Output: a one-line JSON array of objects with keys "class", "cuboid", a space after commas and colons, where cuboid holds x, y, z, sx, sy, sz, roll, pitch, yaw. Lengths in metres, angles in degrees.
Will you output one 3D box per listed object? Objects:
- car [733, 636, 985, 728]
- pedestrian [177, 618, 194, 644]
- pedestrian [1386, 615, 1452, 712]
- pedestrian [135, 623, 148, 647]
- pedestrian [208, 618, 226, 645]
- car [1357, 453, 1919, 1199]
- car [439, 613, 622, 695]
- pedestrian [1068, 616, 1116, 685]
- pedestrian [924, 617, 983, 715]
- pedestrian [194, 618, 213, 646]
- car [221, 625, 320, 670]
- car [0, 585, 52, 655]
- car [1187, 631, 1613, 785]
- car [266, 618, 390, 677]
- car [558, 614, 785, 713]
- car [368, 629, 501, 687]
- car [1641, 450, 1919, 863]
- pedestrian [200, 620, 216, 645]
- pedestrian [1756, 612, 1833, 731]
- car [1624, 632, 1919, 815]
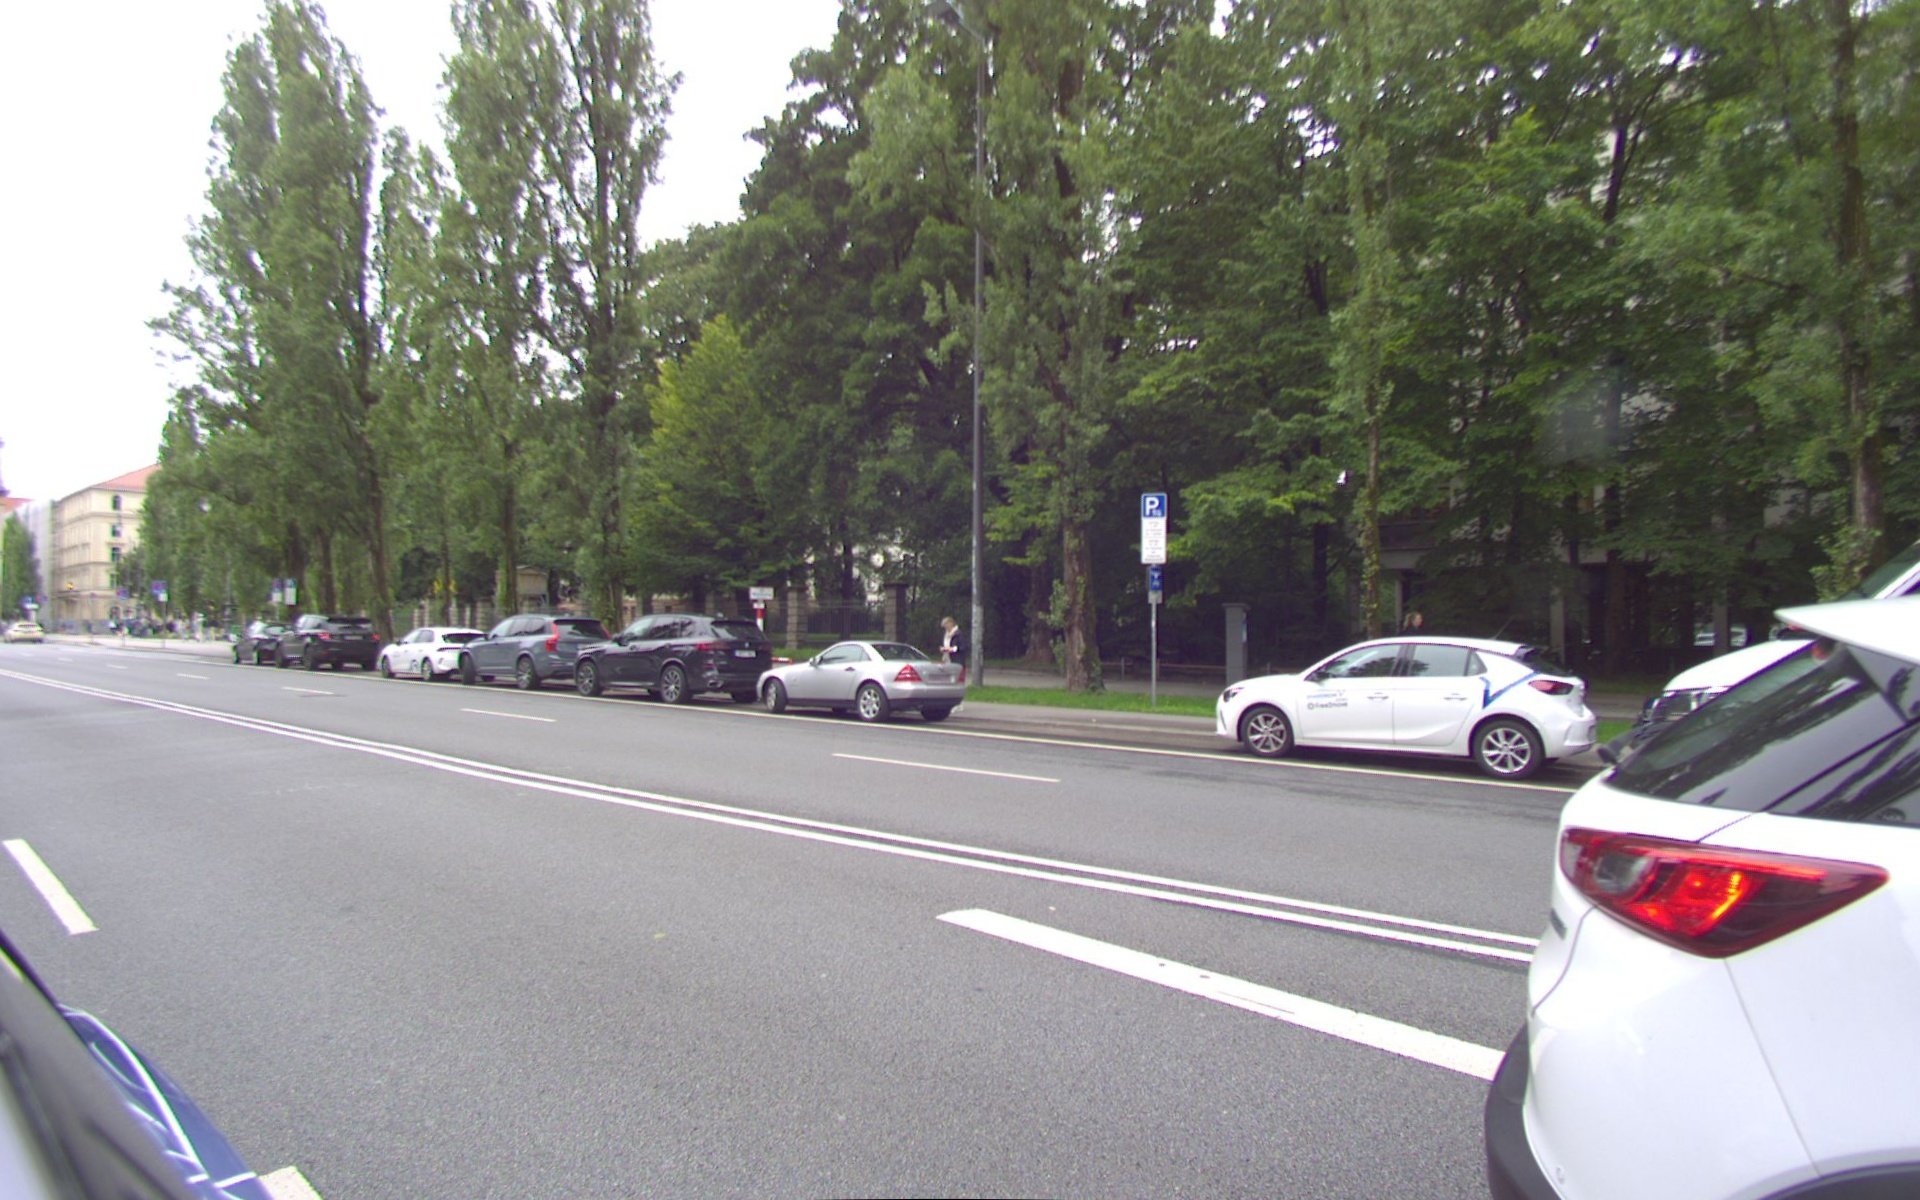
[{"class": "car", "cuboid": [-1.799, 1.331, 17.198, 4.230, 1.344, 1.808, -1, -4, 40]}, {"class": "pedestrian", "cuboid": [-51.874, 2.069, 67.801, 0.885, 1.713, 0.681, -2, -2, 40]}, {"class": "pedestrian", "cuboid": [8.530, 1.163, 18.812, 0.956, 1.755, 0.659, -2, -2, 41]}, {"class": "pedestrian", "cuboid": [-59.596, 2.561, 73.647, 0.581, 1.744, 0.527, -1, -2, 29]}, {"class": "pedestrian", "cuboid": [-49.306, 2.061, 67.132, 1.092, 1.786, 0.702, -1, -2, 39]}, {"class": "car", "cuboid": [2.666, 0.601, 0.749, 4.008, 1.537, 1.884, -2, -2, 43]}, {"class": "car", "cuboid": [-10.497, 1.290, 24.557, 5.175, 1.803, 1.890, -1, -5, 40]}, {"class": "pedestrian", "cuboid": [3.173, 1.196, 24.391, 0.881, 1.611, 0.729, -1, -1, 41]}, {"class": "pedestrian", "cuboid": [-0.113, 1.137, 17.768, 0.751, 1.677, 0.730, -1, -2, 41]}, {"class": "pedestrian", "cuboid": [-49.756, 2.102, 66.546, 1.092, 1.847, 0.702, -1, -2, 39]}, {"class": "car", "cuboid": [-25.571, 1.746, 37.496, 4.386, 1.596, 1.924, -1, -4, 41]}, {"class": "car", "cuboid": [-64.863, 1.380, 70.273, 1.324, 4.519, 1.782, -34, -35, 15]}, {"class": "car", "cuboid": [4.959, 1.127, 11.725, 4.229, 1.463, 1.753, -1, -4, 39]}, {"class": "car", "cuboid": [-20.834, 1.541, 33.303, 4.796, 1.800, 2.025, -1, -4, 40]}, {"class": "car", "cuboid": [-5.928, 1.239, 20.508, 4.890, 1.781, 1.922, -1, -4, 39]}, {"class": "car", "cuboid": [-14.476, 1.556, 27.787, 4.269, 1.470, 1.687, -1, -4, 40]}, {"class": "car", "cuboid": [8.044, 0.353, 5.738, 6.751, 2.502, 2.205, -1, -4, 40]}, {"class": "pedestrian", "cuboid": [-50.934, 2.193, 68.544, 0.910, 1.729, 0.653, -2, -2, 40]}, {"class": "pedestrian", "cuboid": [13.012, 1.081, 15.785, 0.889, 1.785, 0.729, -1, -1, 41]}, {"class": "car", "cuboid": [8.107, 1.052, 8.964, 3.582, 1.462, 1.692, -1, -4, 39]}]
